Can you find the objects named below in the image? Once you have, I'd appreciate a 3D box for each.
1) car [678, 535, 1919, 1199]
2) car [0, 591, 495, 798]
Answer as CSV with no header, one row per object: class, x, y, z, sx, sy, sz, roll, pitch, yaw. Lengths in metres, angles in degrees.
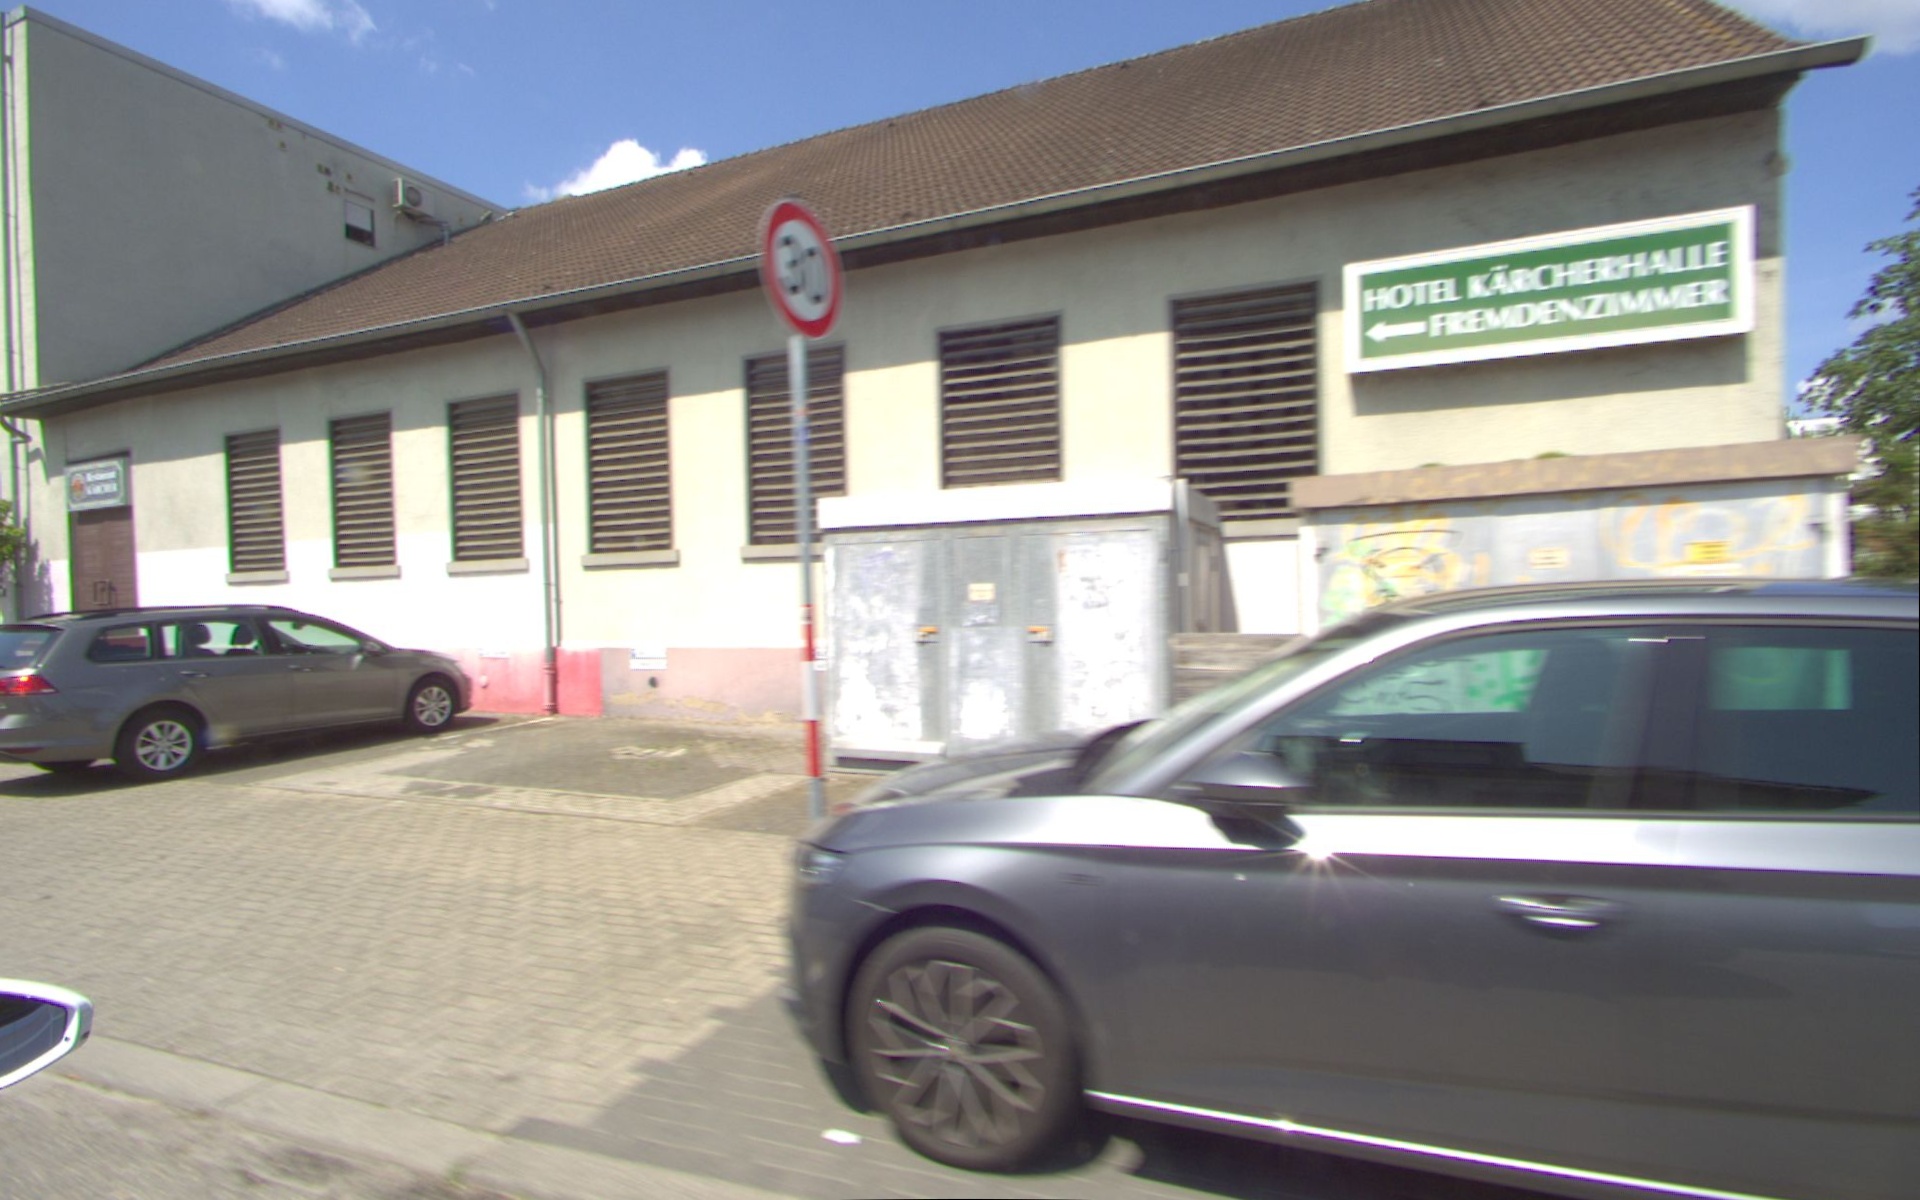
car,1.405,0.638,2.764,4.070,1.509,1.628,-1,1,23
car,-7.260,0.714,10.070,1.886,1.474,4.525,-1,2,24
